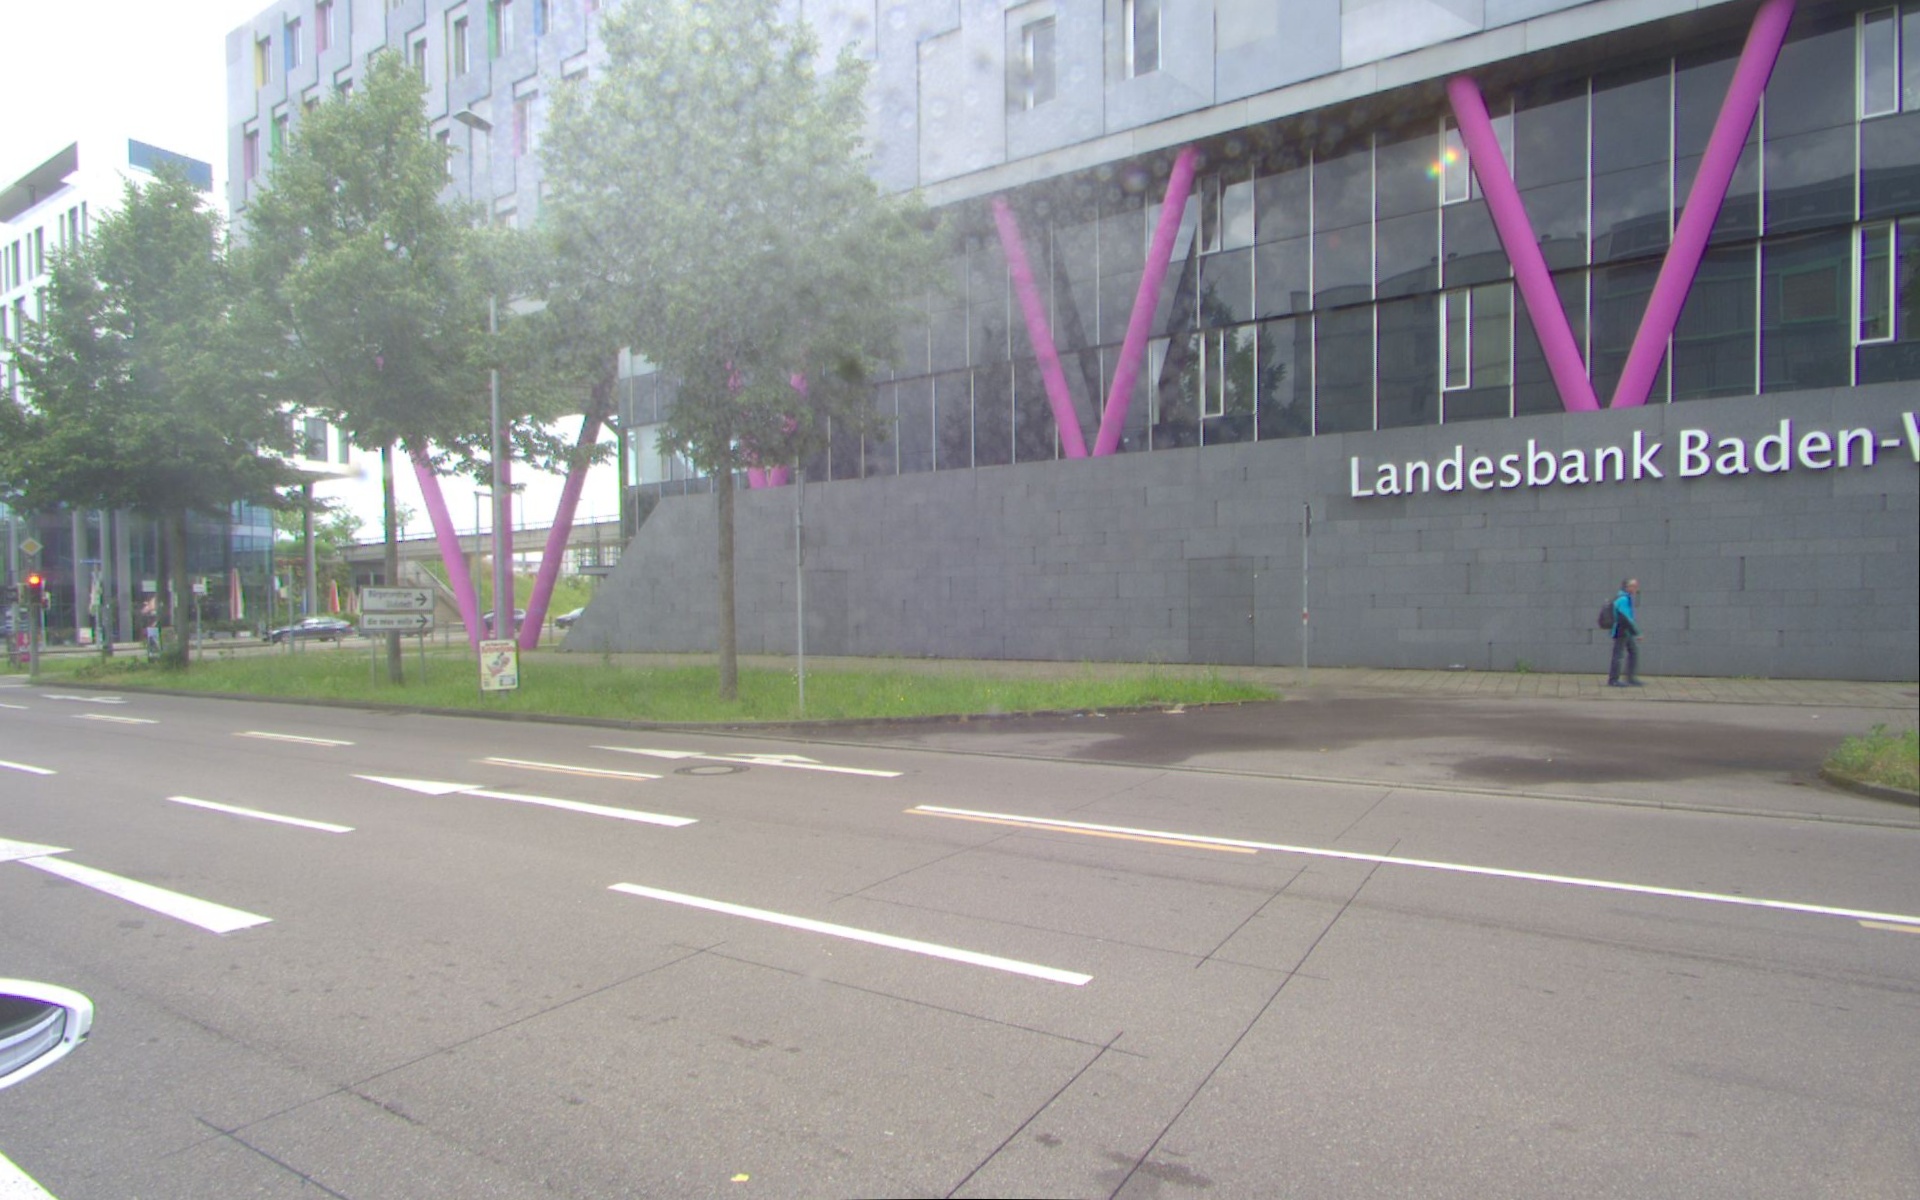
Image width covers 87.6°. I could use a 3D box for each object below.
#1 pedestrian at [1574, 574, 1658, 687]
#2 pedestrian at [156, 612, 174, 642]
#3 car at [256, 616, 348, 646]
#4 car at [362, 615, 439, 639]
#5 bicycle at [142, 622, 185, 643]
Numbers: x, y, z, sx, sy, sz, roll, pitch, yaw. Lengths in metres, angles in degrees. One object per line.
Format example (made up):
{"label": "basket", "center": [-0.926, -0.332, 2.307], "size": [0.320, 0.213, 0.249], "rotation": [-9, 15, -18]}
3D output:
{"label": "pedestrian", "center": [10.887, 0.489, 16.655], "size": [1.121, 1.794, 1.049], "rotation": [0, 1, 33]}
{"label": "pedestrian", "center": [-43.980, 1.494, 55.382], "size": [0.610, 1.625, 0.613], "rotation": [0, 1, 34]}
{"label": "car", "center": [-39.166, 1.817, 59.655], "size": [1.734, 1.636, 4.240], "rotation": [0, 0, 34]}
{"label": "car", "center": [-36.233, 1.746, 64.928], "size": [1.734, 1.474, 4.070], "rotation": [0, 0, 34]}
{"label": "bicycle", "center": [-44.007, 1.763, 55.342], "size": [0.609, 1.100, 1.787], "rotation": [0, 0, 34]}
